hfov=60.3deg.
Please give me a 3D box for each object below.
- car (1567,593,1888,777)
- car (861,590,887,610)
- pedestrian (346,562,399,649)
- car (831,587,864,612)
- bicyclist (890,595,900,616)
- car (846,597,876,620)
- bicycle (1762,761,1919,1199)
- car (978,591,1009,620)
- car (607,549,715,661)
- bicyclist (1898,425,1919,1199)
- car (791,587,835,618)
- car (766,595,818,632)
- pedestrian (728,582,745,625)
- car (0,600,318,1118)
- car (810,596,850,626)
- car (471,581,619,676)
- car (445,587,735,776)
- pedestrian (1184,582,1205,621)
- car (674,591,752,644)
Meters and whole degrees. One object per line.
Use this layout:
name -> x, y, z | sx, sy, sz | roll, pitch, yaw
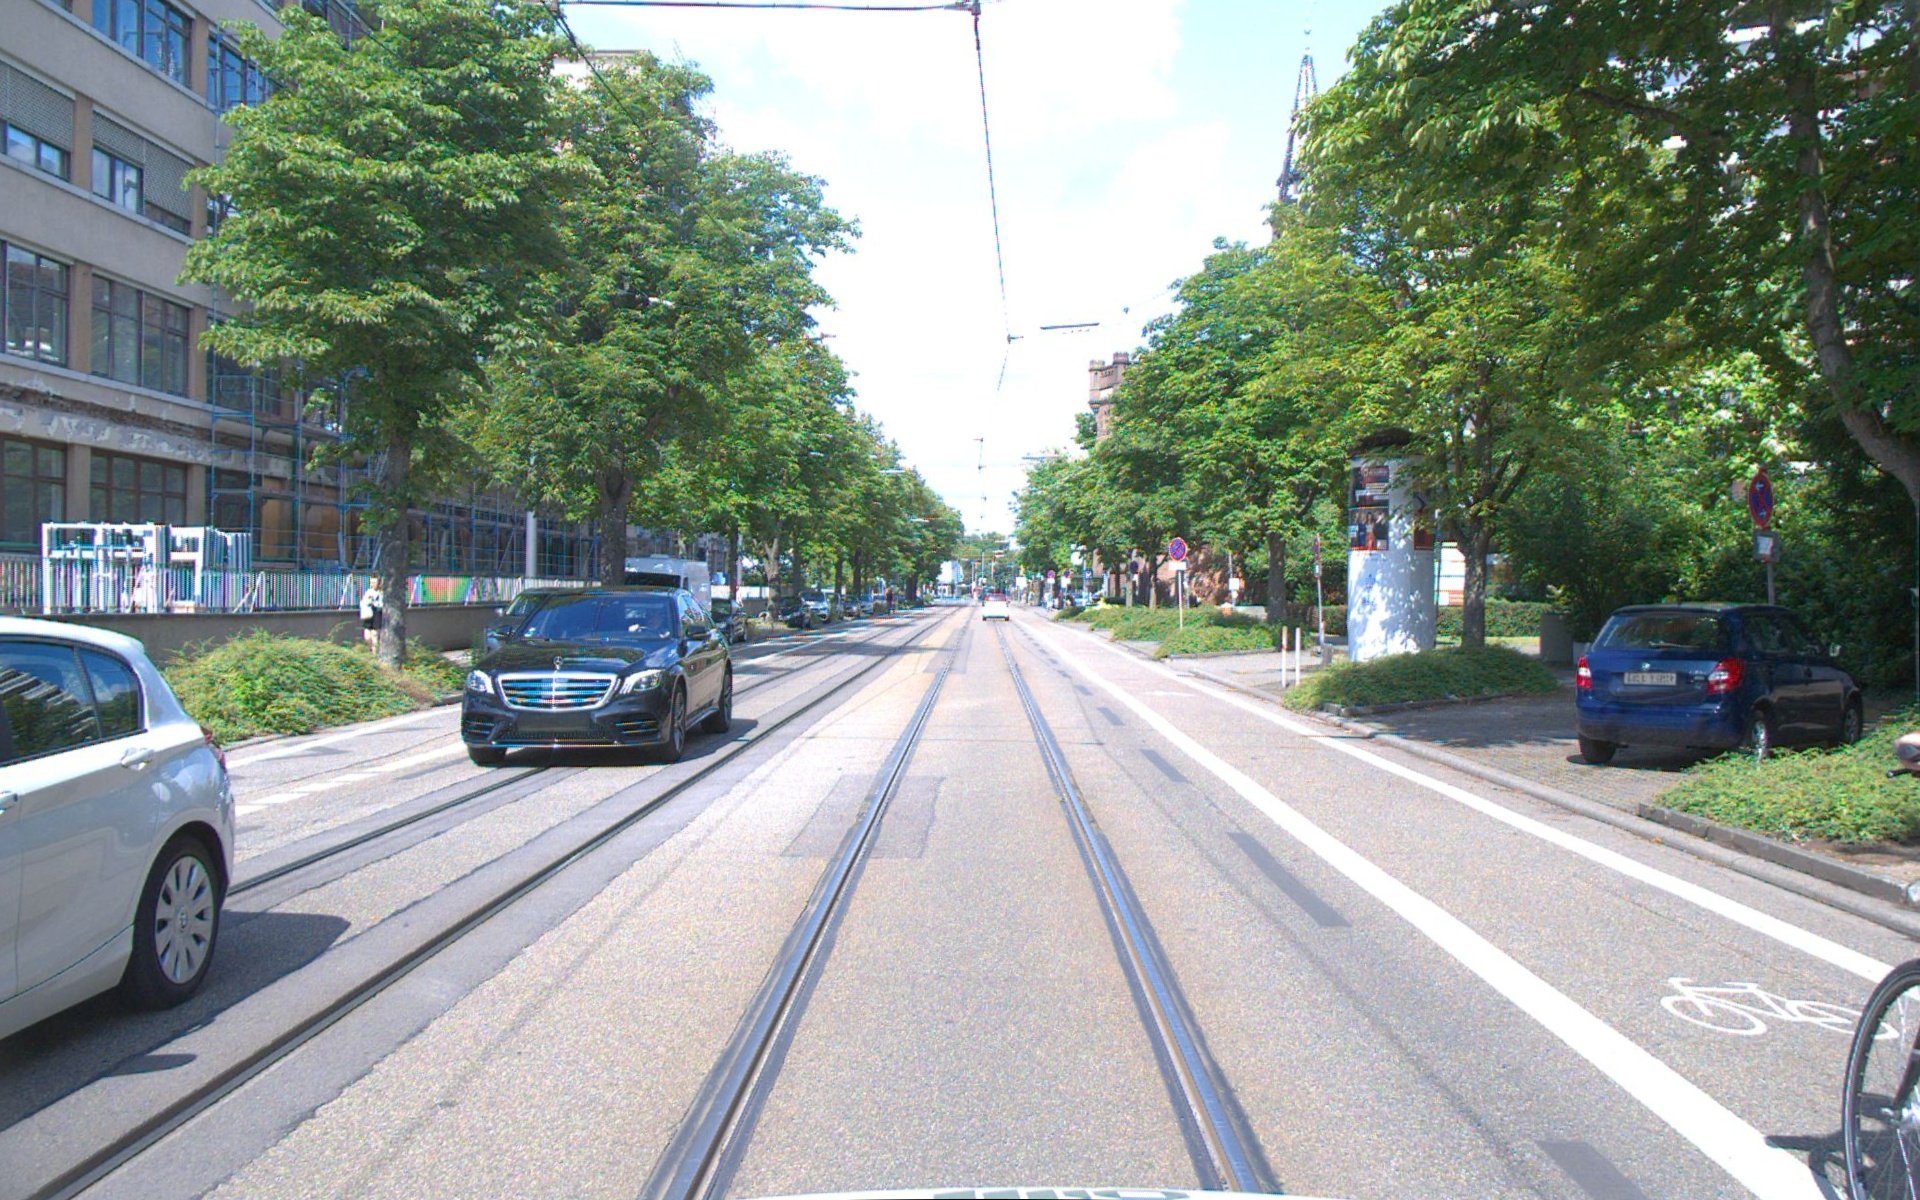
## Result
car -> 7.490, 0.716, 15.957 | 1.589, 1.512, 3.972 | 0, 0, 44
car -> -6.737, -0.036, 129.489 | 1.767, 1.543, 4.103 | 1, 0, 1
pedestrian -> -11.320, 0.105, 31.886 | 0.749, 1.648, 0.594 | 2, 0, 0
car -> -7.169, -0.019, 105.756 | 1.767, 1.543, 4.103 | 1, 0, 1
bicyclist -> -4.847, 0.412, 123.669 | 0.645, 1.607, 0.946 | 2, 0, -1
car -> -7.067, 0.611, 118.202 | 1.767, 1.543, 4.103 | 2, 0, 1
bicycle -> 2.306, 0.913, 3.161 | 0.603, 1.063, 1.836 | -3, -1, 0
car -> 1.945, 0.287, 97.098 | 1.632, 1.653, 3.619 | 0, 1, -2
car -> -7.724, 0.134, 43.154 | 1.733, 2.685, 5.322 | 2, 0, 0
bicyclist -> 2.315, 0.350, 2.950 | 0.594, 1.982, 1.130 | 2, 0, 0
car -> -7.389, 0.110, 83.512 | 1.767, 1.543, 4.103 | 1, 0, 1
car -> -7.373, 0.568, 72.938 | 1.767, 1.543, 4.103 | 2, 0, 1
pedestrian -> -10.820, 0.175, 79.999 | 0.788, 2.049, 0.484 | 1, 0, -9
car -> -3.475, 0.715, 4.576 | 1.651, 1.430, 4.227 | 0, -1, 1
car -> -7.138, 0.589, 91.212 | 1.767, 1.543, 4.103 | 2, 0, 1
car -> -8.061, 0.523, 32.481 | 1.767, 1.691, 4.103 | 2, 0, 1
car -> -3.366, 0.676, 15.947 | 1.763, 1.534, 4.536 | 1, 0, 0
pedestrian -> 12.816, 0.084, 90.452 | 0.957, 2.049, 1.093 | 2, 0, -1
car -> -7.823, 0.537, 52.632 | 1.767, 1.543, 4.103 | 2, 0, 1
